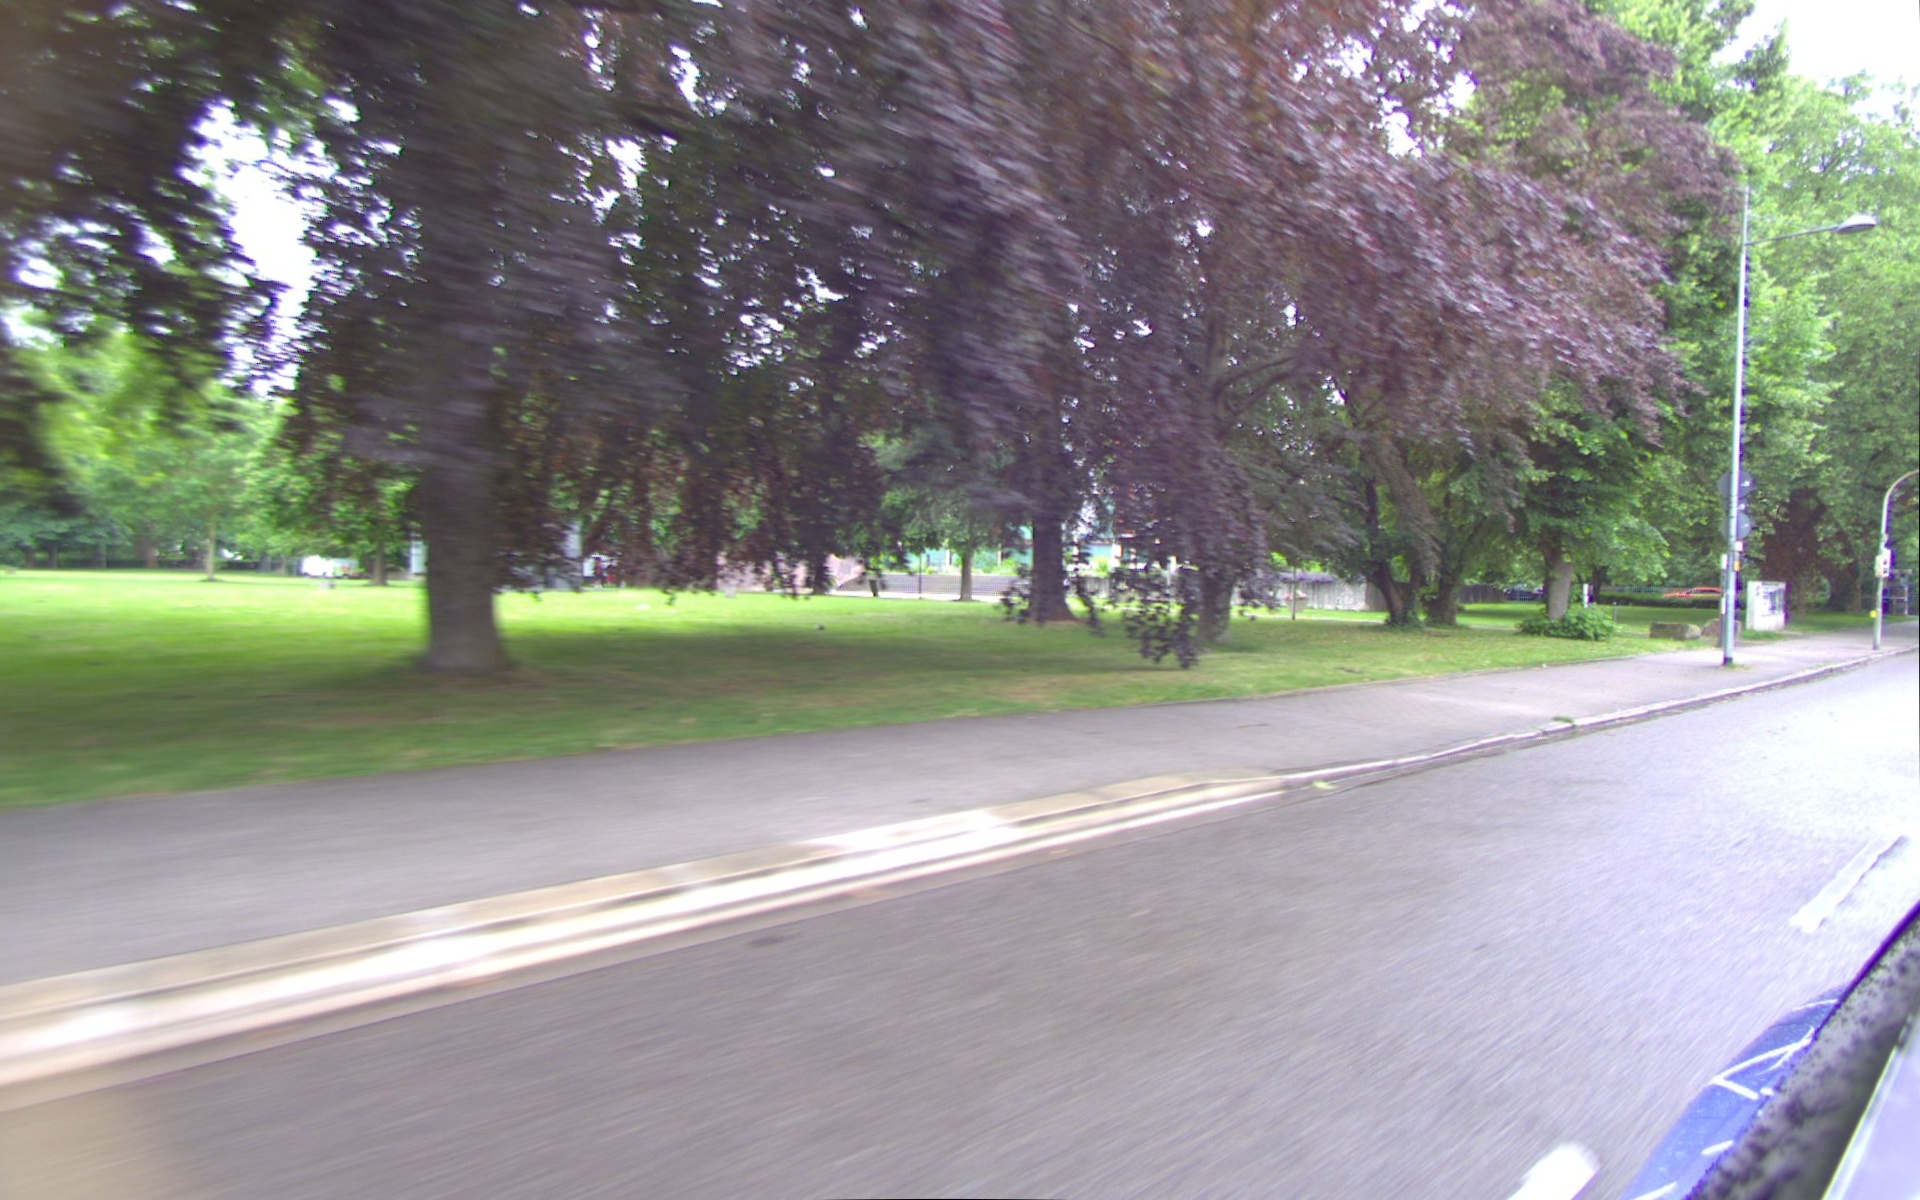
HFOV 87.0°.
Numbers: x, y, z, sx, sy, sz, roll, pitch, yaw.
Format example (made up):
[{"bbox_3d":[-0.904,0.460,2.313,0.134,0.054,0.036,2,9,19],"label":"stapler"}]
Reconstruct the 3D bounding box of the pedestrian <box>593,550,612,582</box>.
[{"bbox_3d":[-20.579,-1.930,58.240,0.838,1.785,0.760,-2,-1,44],"label":"pedestrian"}]

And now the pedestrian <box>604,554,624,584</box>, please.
[{"bbox_3d":[-20.643,-1.851,60.337,0.767,1.785,0.829,-2,-1,37],"label":"pedestrian"}]

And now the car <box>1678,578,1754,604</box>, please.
[{"bbox_3d":[53.351,-0.649,71.457,1.966,1.737,3.993,0,2,-43],"label":"car"}]

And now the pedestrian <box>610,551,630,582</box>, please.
[{"bbox_3d":[-19.886,-1.970,59.171,0.838,1.785,0.844,-2,-1,44],"label":"pedestrian"}]

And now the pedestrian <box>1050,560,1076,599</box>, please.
[{"bbox_3d":[4.849,-0.948,47.787,0.838,1.785,0.865,-2,-1,44],"label":"pedestrian"}]
